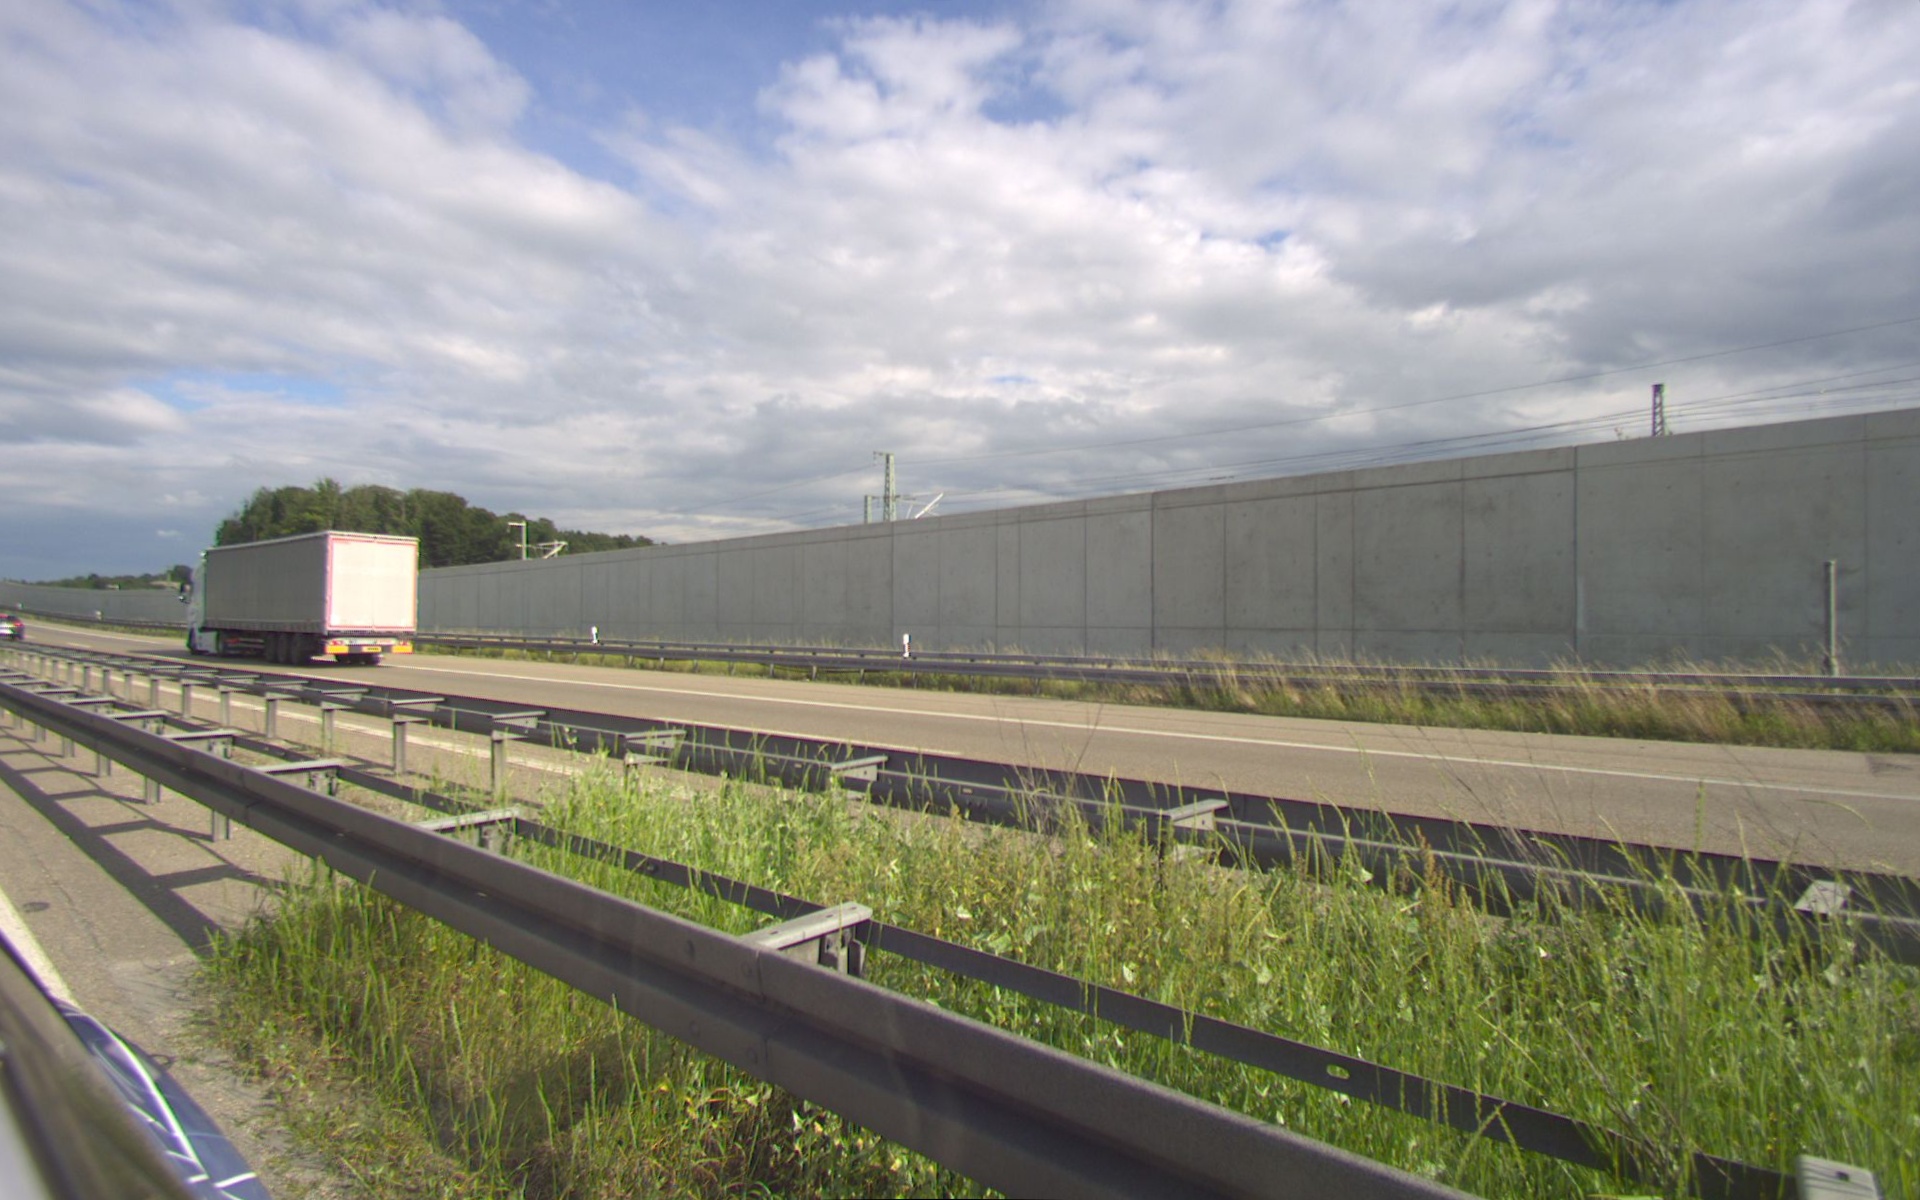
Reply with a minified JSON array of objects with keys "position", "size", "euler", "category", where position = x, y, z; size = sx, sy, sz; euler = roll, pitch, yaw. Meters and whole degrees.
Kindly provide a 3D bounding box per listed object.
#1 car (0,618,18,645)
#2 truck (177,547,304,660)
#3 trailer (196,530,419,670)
[{"position":[-52.445,1.685,54.822],"size":[3.894,1.411,1.616],"euler":[-1,-1,41],"category":"car"},{"position":[-28.105,0.197,39.442],"size":[5.876,4.099,2.657],"euler":[-1,-2,41],"category":"truck"},{"position":[-22.902,0.124,34.932],"size":[13.783,4.069,2.656],"euler":[-1,-2,41],"category":"trailer"}]
